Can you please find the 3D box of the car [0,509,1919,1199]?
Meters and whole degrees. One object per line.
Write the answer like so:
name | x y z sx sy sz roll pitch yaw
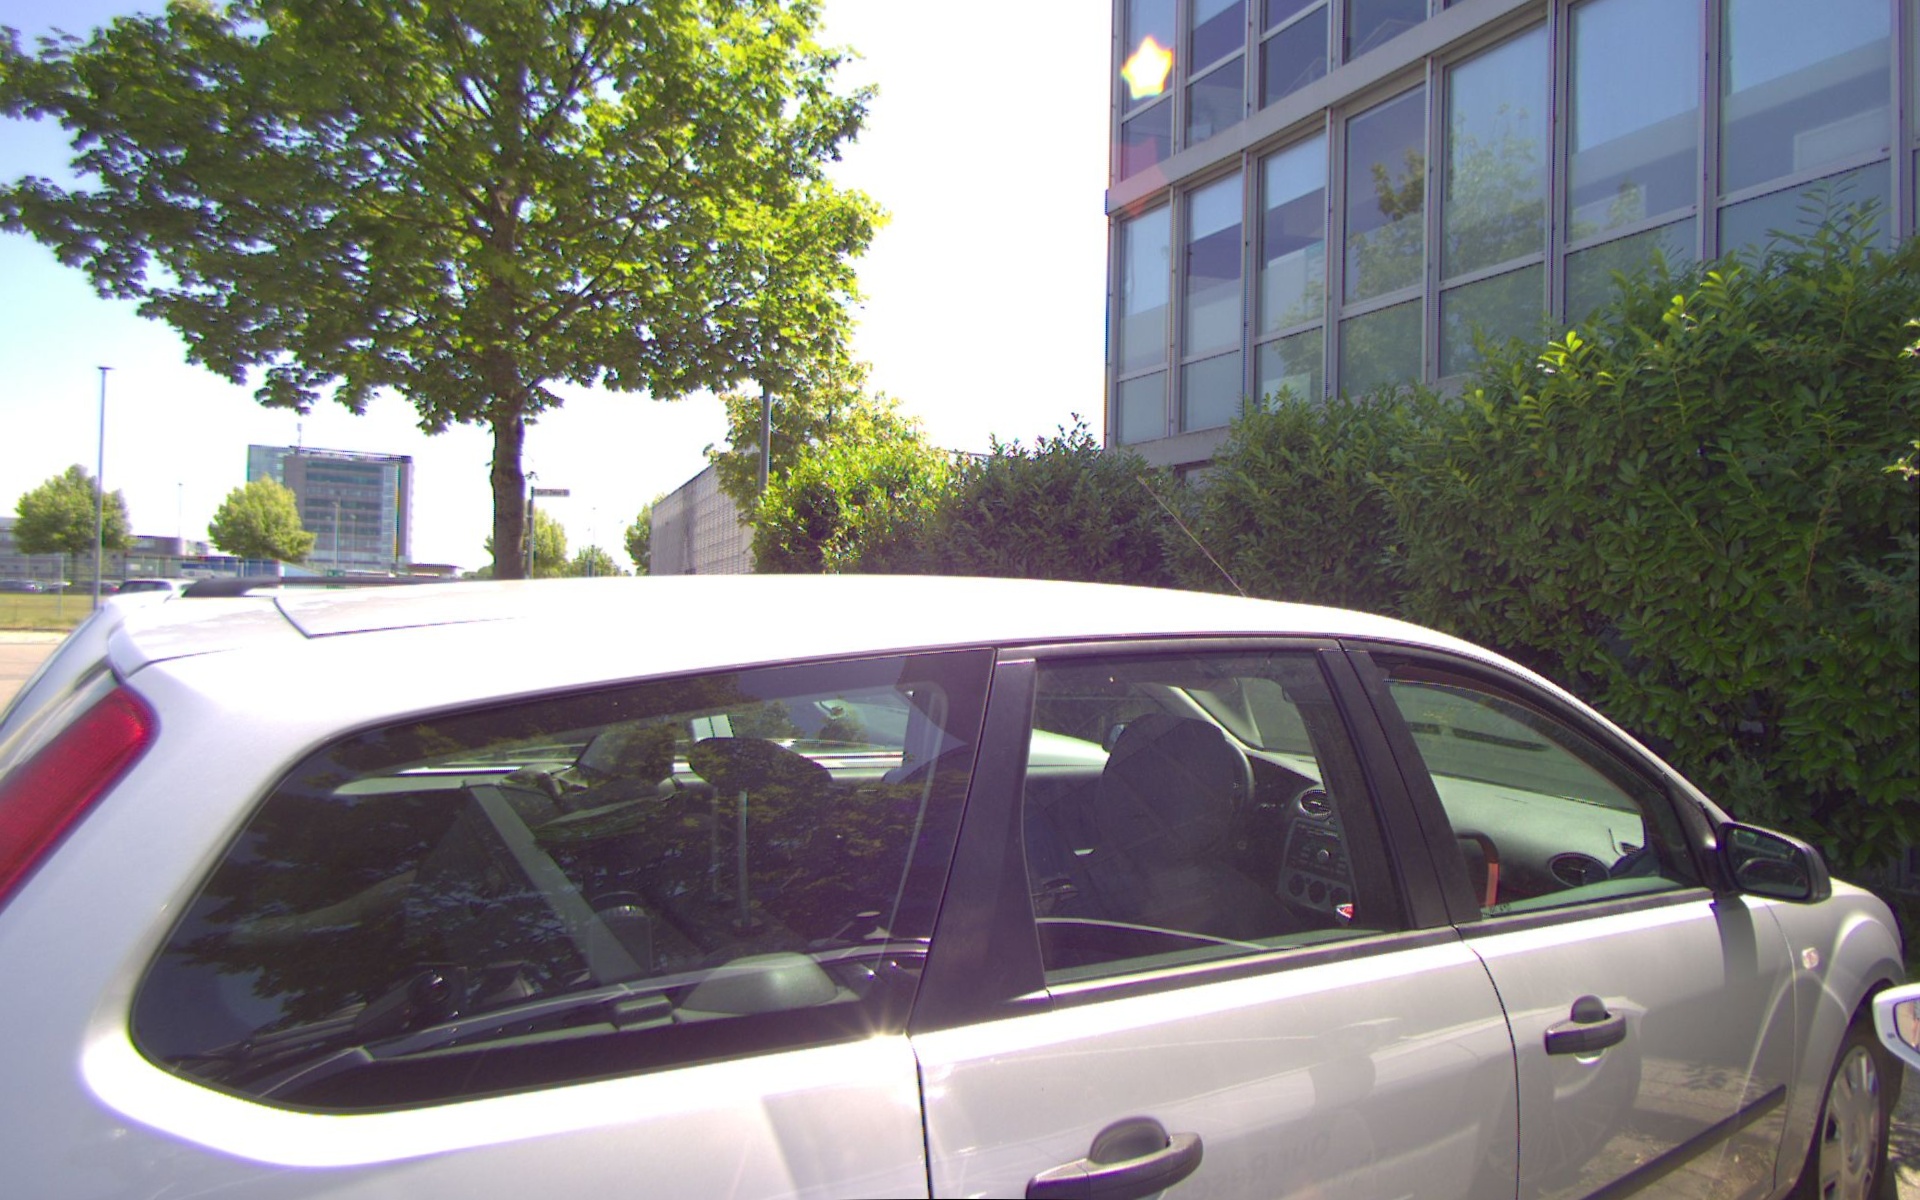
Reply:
car | 0.362 0.724 2.145 4.299 1.499 1.710 1 0 -31

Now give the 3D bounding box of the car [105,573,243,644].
car | -21.150 0.222 27.213 1.745 1.761 3.982 1 0 -20

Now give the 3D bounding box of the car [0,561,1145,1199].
car | -1.289 0.690 3.762 3.851 1.499 1.637 1 0 -34

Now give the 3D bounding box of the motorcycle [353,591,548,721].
motorcycle | -5.858 0.613 11.618 1.969 1.408 0.480 1 0 -34

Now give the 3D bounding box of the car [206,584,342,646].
car | -18.729 0.391 27.629 1.624 1.542 3.991 1 0 -11

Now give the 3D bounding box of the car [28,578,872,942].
car | -2.596 0.680 5.819 3.851 1.468 1.637 1 0 -34
